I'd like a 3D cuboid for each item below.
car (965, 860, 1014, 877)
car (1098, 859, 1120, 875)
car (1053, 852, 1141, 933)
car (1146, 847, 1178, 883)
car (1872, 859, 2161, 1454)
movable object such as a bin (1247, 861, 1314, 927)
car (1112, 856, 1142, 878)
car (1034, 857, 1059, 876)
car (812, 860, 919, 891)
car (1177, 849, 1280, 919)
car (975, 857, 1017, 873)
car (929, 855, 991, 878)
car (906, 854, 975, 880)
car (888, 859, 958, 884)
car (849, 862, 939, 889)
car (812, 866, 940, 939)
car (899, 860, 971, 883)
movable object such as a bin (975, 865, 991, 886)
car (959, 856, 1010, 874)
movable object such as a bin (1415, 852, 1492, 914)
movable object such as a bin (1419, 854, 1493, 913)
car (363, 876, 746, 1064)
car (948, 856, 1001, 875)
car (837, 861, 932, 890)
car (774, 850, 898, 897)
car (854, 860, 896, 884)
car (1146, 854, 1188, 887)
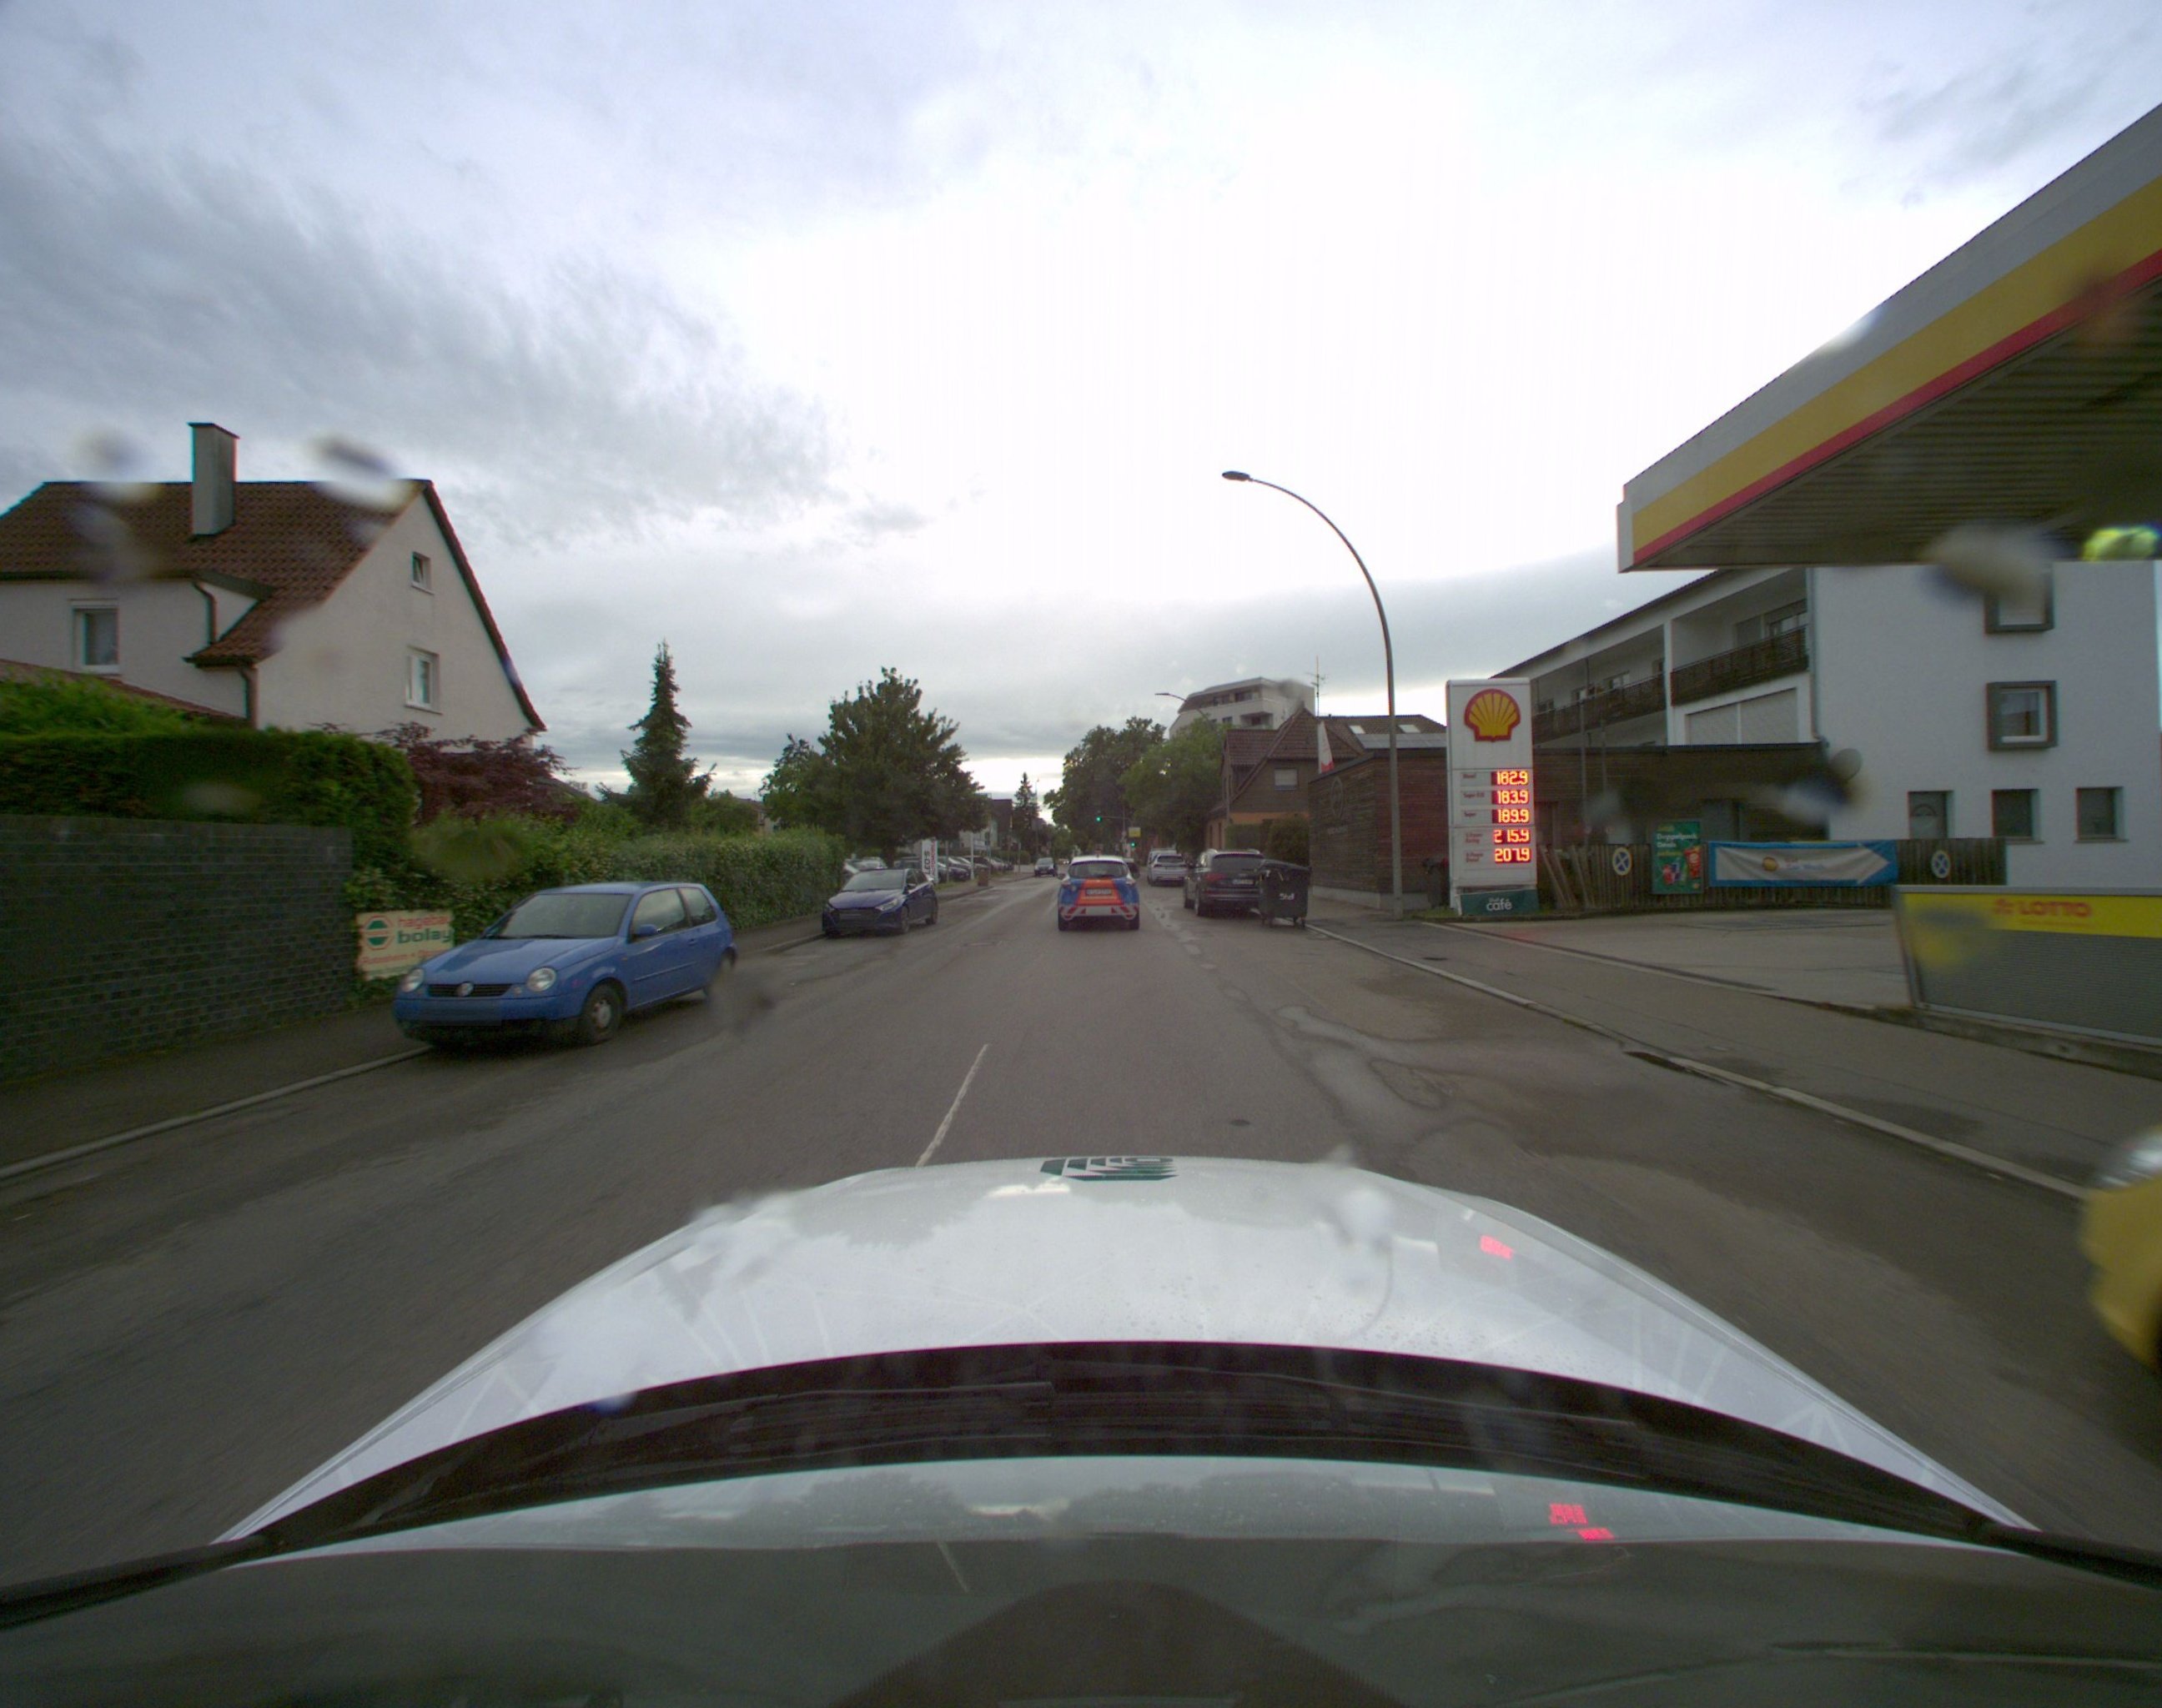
[{"bbox_3d":[-8.044,1.237,71.538,3.969,1.441,1.805,0,0,4],"label":"car"},{"bbox_3d":[2.681,1.201,78.655,1.789,1.428,3.998,0,1,-2],"label":"car"},{"bbox_3d":[0.378,0.774,18.401,1.739,1.581,4.001,-1,0,1],"label":"car"},{"bbox_3d":[4.816,0.588,48.949,1.770,2.029,4.759,0,1,4],"label":"car"},{"bbox_3d":[3.363,0.714,0.738,1.650,1.402,3.802,-1,0,1],"label":"car"},{"bbox_3d":[4.458,0.870,18.342,1.123,1.388,1.503,-1,0,-1],"label":"movable object such as a bin"},{"bbox_3d":[3.429,0.949,61.594,1.987,1.574,3.999,0,1,0],"label":"car"},{"bbox_3d":[-2.760,1.013,65.165,1.620,1.433,3.687,-1,0,3],"label":"car"},{"bbox_3d":[-10.210,1.005,38.764,4.541,1.309,1.889,-1,0,1],"label":"car"},{"bbox_3d":[3.839,0.717,21.985,2.083,1.662,4.561,0,1,1],"label":"car"},{"bbox_3d":[-8.264,1.086,78.906,3.944,1.530,1.617,0,1,-9],"label":"car"},{"bbox_3d":[-9.162,0.953,61.845,4.330,1.690,1.960,-1,0,2],"label":"car"},{"bbox_3d":[-9.735,0.900,56.715,4.330,1.691,2.060,-1,0,2],"label":"car"},{"bbox_3d":[-10.011,1.098,51.788,3.971,1.464,1.840,-1,0,2],"label":"car"},{"bbox_3d":[-10.062,1.169,44.049,4.435,1.332,1.771,-1,0,1],"label":"car"},{"bbox_3d":[-4.614,1.038,18.935,1.800,1.403,3.946,-2,0,2],"label":"car"},{"bbox_3d":[-9.693,1.150,54.325,4.330,1.464,1.942,-1,0,2],"label":"car"},{"bbox_3d":[-5.334,1.175,44.314,0.705,1.130,0.735,0,0,2],"label":"movable object such as a bin"},{"bbox_3d":[-8.180,0.934,69.105,3.969,1.544,1.805,0,0,4],"label":"car"},{"bbox_3d":[8.435,0.633,18.527,1.098,1.340,1.384,-1,0,-1],"label":"movable object such as a bin"},{"bbox_3d":[8.902,0.683,19.406,1.098,1.340,1.384,-1,0,-1],"label":"movable object such as a bin"},{"bbox_3d":[-5.100,1.011,8.540,1.540,1.403,3.598,-2,0,2],"label":"car"},{"bbox_3d":[-8.591,0.920,65.988,3.969,1.544,1.805,0,0,4],"label":"car"},{"bbox_3d":[-10.014,1.098,41.751,4.360,1.374,1.889,-1,0,1],"label":"car"},{"bbox_3d":[-10.141,0.803,33.948,4.547,1.790,1.896,-1,0,-3],"label":"car"},{"bbox_3d":[-14.093,1.212,55.815,1.685,1.530,4.002,-2,0,2],"label":"car"},{"bbox_3d":[4.473,0.841,42.800,1.859,1.665,4.321,0,0,1],"label":"car"}]
